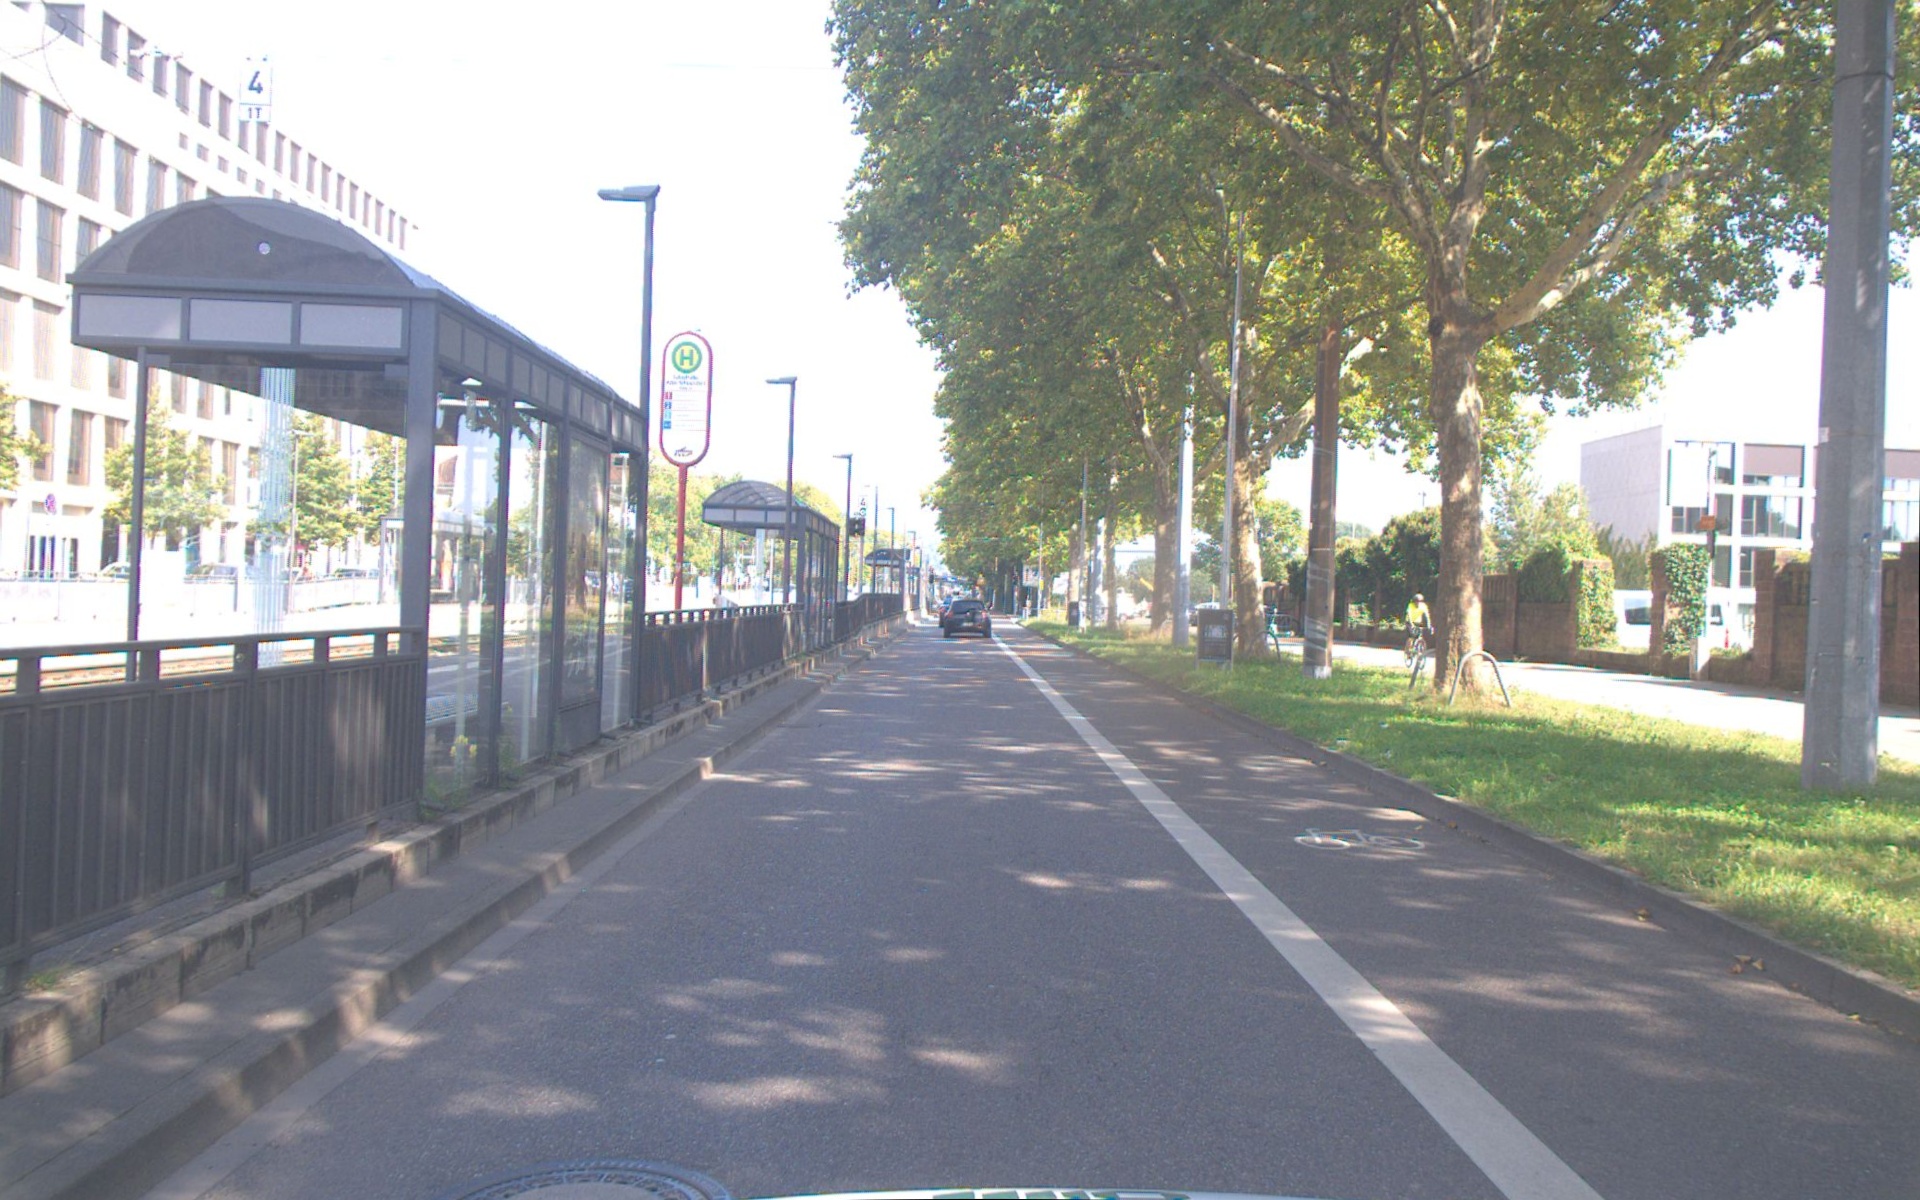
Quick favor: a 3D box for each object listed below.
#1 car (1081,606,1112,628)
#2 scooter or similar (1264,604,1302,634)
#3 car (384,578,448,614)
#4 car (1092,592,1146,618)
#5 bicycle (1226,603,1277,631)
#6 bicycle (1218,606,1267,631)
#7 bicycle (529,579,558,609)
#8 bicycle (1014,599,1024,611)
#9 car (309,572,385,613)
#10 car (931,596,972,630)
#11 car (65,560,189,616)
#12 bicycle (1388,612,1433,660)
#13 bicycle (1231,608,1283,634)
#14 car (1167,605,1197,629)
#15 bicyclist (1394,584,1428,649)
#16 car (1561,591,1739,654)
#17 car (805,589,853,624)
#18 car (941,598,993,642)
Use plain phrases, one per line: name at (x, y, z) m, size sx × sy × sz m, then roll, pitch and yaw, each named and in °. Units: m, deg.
car at (9.210, 1.142, 112.064) m, size 1.692 × 1.474 × 4.550 m, roll 1°, pitch 0°, yaw 0°
scooter or similar at (13.412, 0.783, 68.639) m, size 1.474 × 1.212 × 0.539 m, roll 0°, pitch -1°, yaw 4°
car at (-25.392, -0.173, 77.314) m, size 1.728 × 1.631 × 4.131 m, roll 1°, pitch 0°, yaw -2°
car at (12.018, 0.350, 125.422) m, size 4.017 × 1.952 × 1.848 m, roll 0°, pitch 0°, yaw 3°
bicycle at (13.659, 0.803, 77.470) m, size 2.198 × 1.299 × 0.998 m, roll 0°, pitch -1°, yaw -1°
bicycle at (12.986, 0.855, 76.004) m, size 2.128 × 1.095 × 0.743 m, roll -1°, pitch 0°, yaw 3°
bicycle at (-17.140, -0.245, 68.063) m, size 0.461 × 1.167 × 1.485 m, roll 2°, pitch 0°, yaw 14°
bicycle at (5.002, 0.415, 140.881) m, size 0.598 × 1.039 × 2.401 m, roll 1°, pitch 0°, yaw -4°
car at (-25.664, -0.314, 69.353) m, size 1.728 × 1.631 × 4.131 m, roll 1°, pitch 0°, yaw -2°
car at (-0.447, 0.633, 81.037) m, size 1.933 × 1.564 × 3.999 m, roll -2°, pitch 0°, yaw -1°
car at (-25.011, -0.335, 49.830) m, size 1.728 × 1.602 × 4.131 m, roll 1°, pitch 0°, yaw -2°
bicycle at (10.295, 0.806, 37.819) m, size 0.537 × 1.024 × 1.713 m, roll 1°, pitch 0°, yaw 0°
bicycle at (13.090, 0.936, 72.941) m, size 2.129 × 1.095 × 0.743 m, roll 2°, pitch 0°, yaw -2°
car at (15.187, 1.140, 113.298) m, size 1.575 × 1.603 × 3.796 m, roll 1°, pitch 0°, yaw 0°
bicyclist at (10.308, 0.372, 37.809) m, size 0.537 × 1.478 × 0.842 m, roll 1°, pitch 0°, yaw 0°
car at (20.222, 0.647, 48.552) m, size 4.430 × 1.764 × 1.909 m, roll 1°, pitch 0°, yaw -2°
car at (-6.365, 0.290, 80.781) m, size 1.952 × 1.586 × 4.000 m, roll 2°, pitch 0°, yaw 1°
car at (0.215, 0.723, 61.609) m, size 1.868 × 1.564 × 3.999 m, roll 0°, pitch 0°, yaw -1°
